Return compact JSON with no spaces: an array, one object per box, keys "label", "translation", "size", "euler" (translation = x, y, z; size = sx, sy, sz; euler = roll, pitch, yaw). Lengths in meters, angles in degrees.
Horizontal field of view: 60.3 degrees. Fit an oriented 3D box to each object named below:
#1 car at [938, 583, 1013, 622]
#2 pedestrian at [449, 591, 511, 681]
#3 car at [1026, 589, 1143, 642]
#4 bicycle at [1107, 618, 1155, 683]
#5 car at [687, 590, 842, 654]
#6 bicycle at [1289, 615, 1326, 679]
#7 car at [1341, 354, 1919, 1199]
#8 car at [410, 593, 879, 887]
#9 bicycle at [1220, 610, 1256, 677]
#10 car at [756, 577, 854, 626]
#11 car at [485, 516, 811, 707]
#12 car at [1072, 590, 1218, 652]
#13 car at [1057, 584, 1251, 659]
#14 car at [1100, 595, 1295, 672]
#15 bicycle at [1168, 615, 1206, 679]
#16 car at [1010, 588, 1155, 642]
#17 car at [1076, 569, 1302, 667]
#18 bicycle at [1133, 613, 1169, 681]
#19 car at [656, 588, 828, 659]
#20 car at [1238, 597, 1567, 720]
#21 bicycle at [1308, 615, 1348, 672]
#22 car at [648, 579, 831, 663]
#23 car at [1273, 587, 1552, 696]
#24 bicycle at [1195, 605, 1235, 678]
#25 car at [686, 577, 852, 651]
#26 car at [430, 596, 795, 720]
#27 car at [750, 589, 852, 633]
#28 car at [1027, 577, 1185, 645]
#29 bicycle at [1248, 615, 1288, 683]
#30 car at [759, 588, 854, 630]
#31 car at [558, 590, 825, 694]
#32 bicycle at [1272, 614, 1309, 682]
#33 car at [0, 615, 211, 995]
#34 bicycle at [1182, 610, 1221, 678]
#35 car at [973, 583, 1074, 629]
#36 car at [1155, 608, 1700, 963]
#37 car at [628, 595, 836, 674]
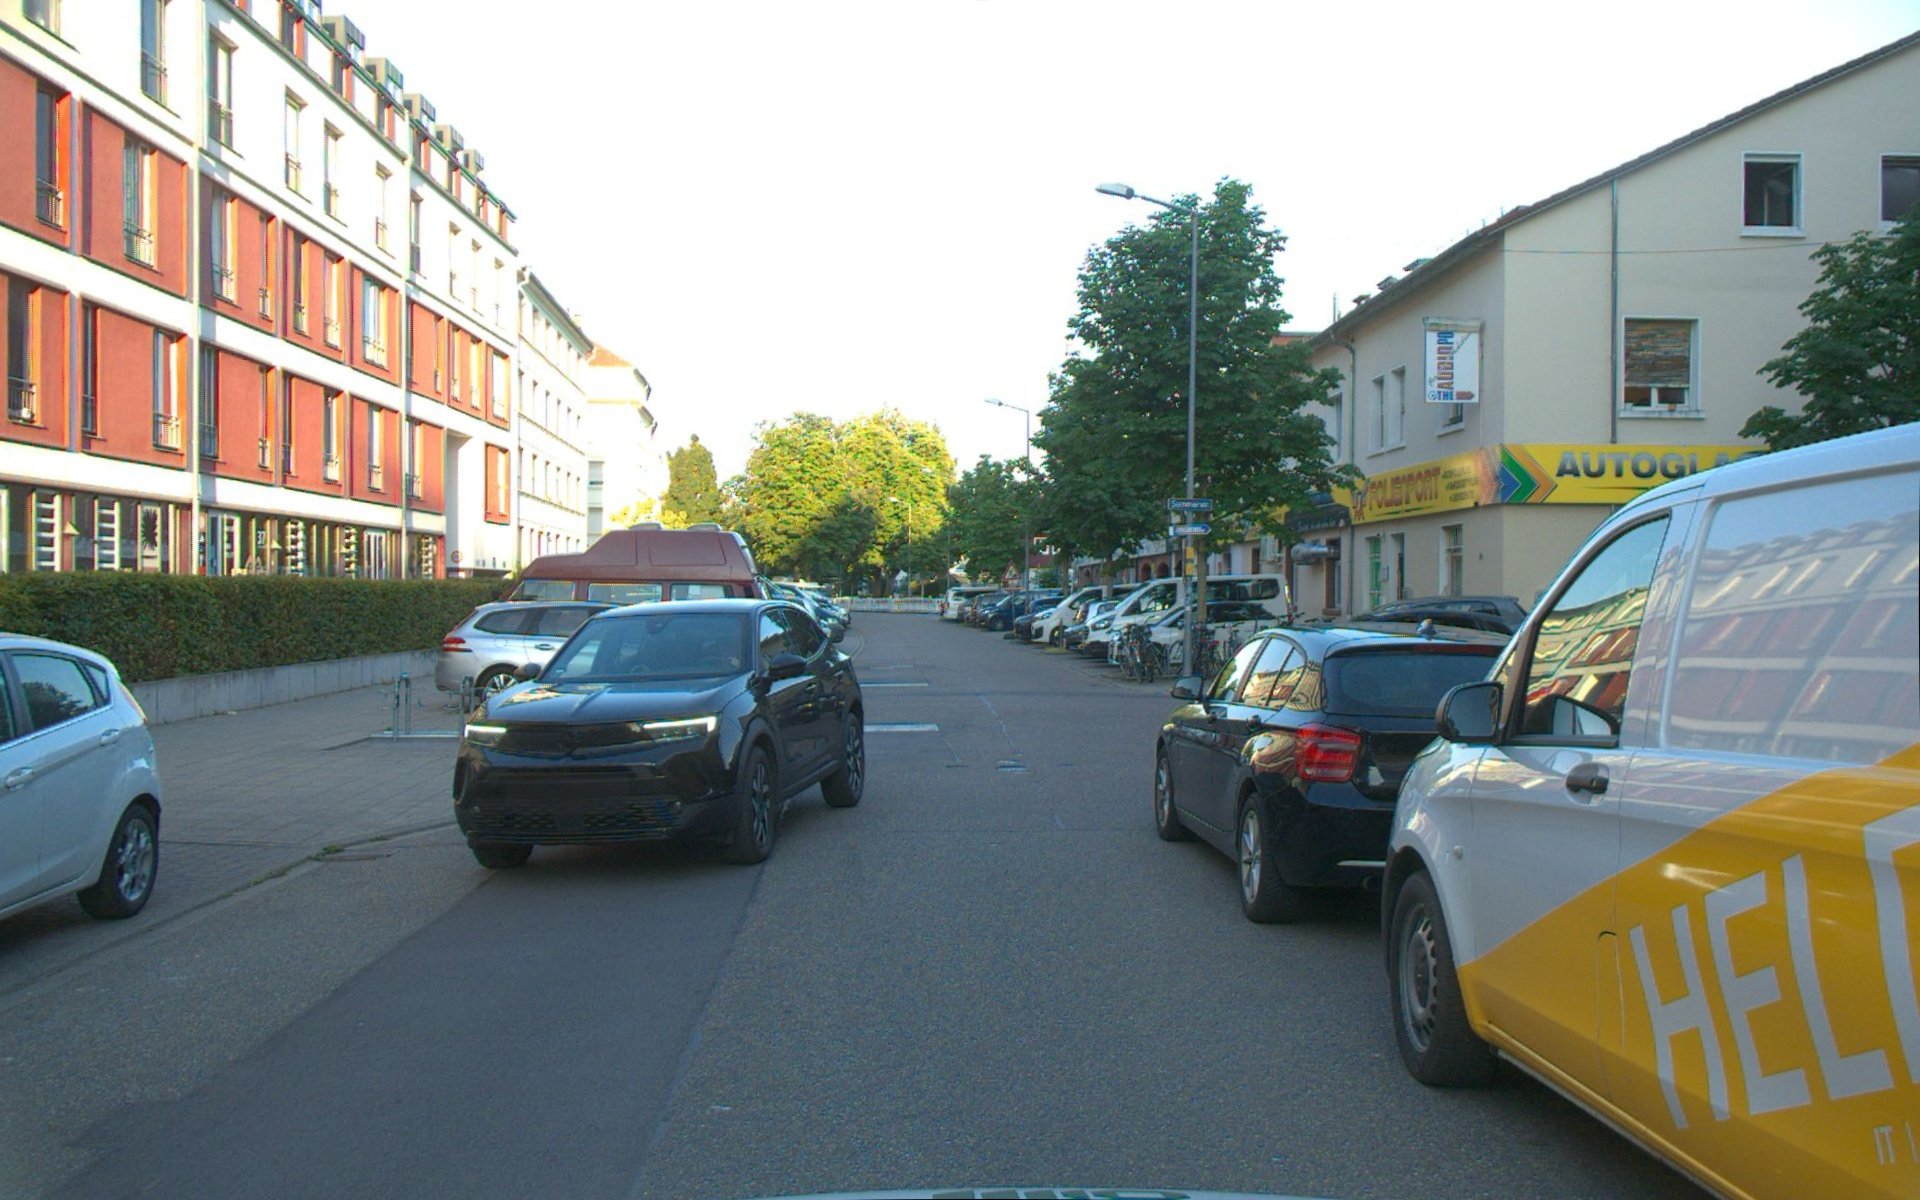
[{"label":"car","translation":[0.866,0.136,91.555],"size":[3.892,1.945,2.046],"euler":[-2,0,-7]},{"label":"pedestrian","translation":[-8.360,0.612,28.817],"size":[0.815,1.527,0.798],"euler":[1,0,-1]},{"label":"car","translation":[4.762,0.585,63.501],"size":[4.231,1.835,1.809],"euler":[-2,0,-4]},{"label":"bicycle","translation":[3.223,0.929,31.305],"size":[0.430,1.150,2.014],"euler":[-1,0,-7]},{"label":"car","translation":[-5.517,0.617,47.050],"size":[4.171,1.681,1.887],"euler":[1,0,-2]},{"label":"bicycle","translation":[6.614,0.882,31.506],"size":[0.346,1.163,1.481],"euler":[-1,0,-1]},{"label":"car","translation":[2.450,0.563,3.670],"size":[1.855,1.917,5.080],"euler":[1,0,-2]},{"label":"car","translation":[-1.802,0.749,10.817],"size":[1.741,1.544,4.003],"euler":[-1,0,9]},{"label":"bicycle","translation":[5.273,0.812,31.426],"size":[0.378,1.221,1.481],"euler":[-1,0,-1]},{"label":"car","translation":[-7.297,0.083,78.059],"size":[4.442,2.171,1.999],"euler":[1,0,-2]},{"label":"car","translation":[-4.551,0.164,24.651],"size":[4.419,2.629,2.000],"euler":[1,0,0]},{"label":"car","translation":[5.159,0.574,46.475],"size":[3.832,1.552,1.938],"euler":[-2,0,-1]},{"label":"car","translation":[5.088,0.544,43.839],"size":[4.844,1.772,2.049],"euler":[-2,0,-1]},{"label":"car","translation":[5.081,0.696,35.707],"size":[3.841,1.476,1.767],"euler":[-2,0,-4]},{"label":"bicycle","translation":[4.321,0.877,31.558],"size":[0.378,1.133,2.017],"euler":[-1,0,-1]},{"label":"car","translation":[4.297,0.519,58.580],"size":[4.846,1.718,2.075],"euler":[-2,0,-4]},{"label":"car","translation":[5.261,0.402,38.500],"size":[4.889,2.018,2.219],"euler":[-2,0,-2]},{"label":"bicycle","translation":[3.625,0.868,31.504],"size":[0.378,1.221,2.017],"euler":[-1,0,-1]},{"label":"car","translation":[-5.562,0.597,42.692],"size":[4.171,1.689,1.999],"euler":[1,0,-2]},{"label":"car","translation":[5.760,0.727,21.716],"size":[3.857,1.480,1.653],"euler":[-1,1,-10]},{"label":"bicycle","translation":[7.008,0.822,31.564],"size":[0.380,1.035,1.481],"euler":[-1,0,-1]},{"label":"car","translation":[-5.305,0.496,40.227],"size":[4.171,1.868,1.999],"euler":[1,0,-2]},{"label":"car","translation":[7.156,0.633,26.413],"size":[3.968,1.540,1.756],"euler":[-1,2,-1]},{"label":"bicycle","translation":[4.856,0.768,31.570],"size":[0.378,1.327,2.017],"euler":[-1,0,-1]},{"label":"car","translation":[-5.665,0.406,49.601],"size":[4.753,2.056,1.906],"euler":[1,0,-2]},{"label":"car","translation":[-4.510,0.745,22.074],"size":[4.526,1.486,1.879],"euler":[1,0,-5]},{"label":"car","translation":[-6.769,0.471,70.665],"size":[4.171,1.744,1.999],"euler":[1,0,-2]},{"label":"car","translation":[4.701,0.336,53.721],"size":[4.846,1.992,2.048],"euler":[-2,0,-4]},{"label":"bicycle","translation":[5.842,0.913,31.411],"size":[0.436,1.221,1.481],"euler":[-1,0,-1]},{"label":"car","translation":[-6.968,0.415,75.432],"size":[4.171,1.780,1.999],"euler":[1,0,-2]},{"label":"car","translation":[-4.335,0.670,27.226],"size":[4.126,1.565,1.789],"euler":[1,0,-4]},{"label":"bicycle","translation":[6.263,0.896,31.414],"size":[0.346,1.221,1.481],"euler":[-1,0,-1]},{"label":"car","translation":[-4.851,0.870,7.171],"size":[1.618,1.557,4.013],"euler":[1,0,-4]},{"label":"bicycle","translation":[4.600,0.823,31.553],"size":[0.378,1.221,2.017],"euler":[-1,0,-1]},{"label":"car","translation":[2.915,0.280,76.113],"size":[4.393,1.945,1.685],"euler":[-2,0,-7]},{"label":"car","translation":[2.255,0.807,9.197],"size":[1.687,1.449,4.251],"euler":[1,0,-2]},{"label":"car","translation":[-4.739,0.708,34.823],"size":[4.124,1.516,1.849],"euler":[1,0,-1]}]
